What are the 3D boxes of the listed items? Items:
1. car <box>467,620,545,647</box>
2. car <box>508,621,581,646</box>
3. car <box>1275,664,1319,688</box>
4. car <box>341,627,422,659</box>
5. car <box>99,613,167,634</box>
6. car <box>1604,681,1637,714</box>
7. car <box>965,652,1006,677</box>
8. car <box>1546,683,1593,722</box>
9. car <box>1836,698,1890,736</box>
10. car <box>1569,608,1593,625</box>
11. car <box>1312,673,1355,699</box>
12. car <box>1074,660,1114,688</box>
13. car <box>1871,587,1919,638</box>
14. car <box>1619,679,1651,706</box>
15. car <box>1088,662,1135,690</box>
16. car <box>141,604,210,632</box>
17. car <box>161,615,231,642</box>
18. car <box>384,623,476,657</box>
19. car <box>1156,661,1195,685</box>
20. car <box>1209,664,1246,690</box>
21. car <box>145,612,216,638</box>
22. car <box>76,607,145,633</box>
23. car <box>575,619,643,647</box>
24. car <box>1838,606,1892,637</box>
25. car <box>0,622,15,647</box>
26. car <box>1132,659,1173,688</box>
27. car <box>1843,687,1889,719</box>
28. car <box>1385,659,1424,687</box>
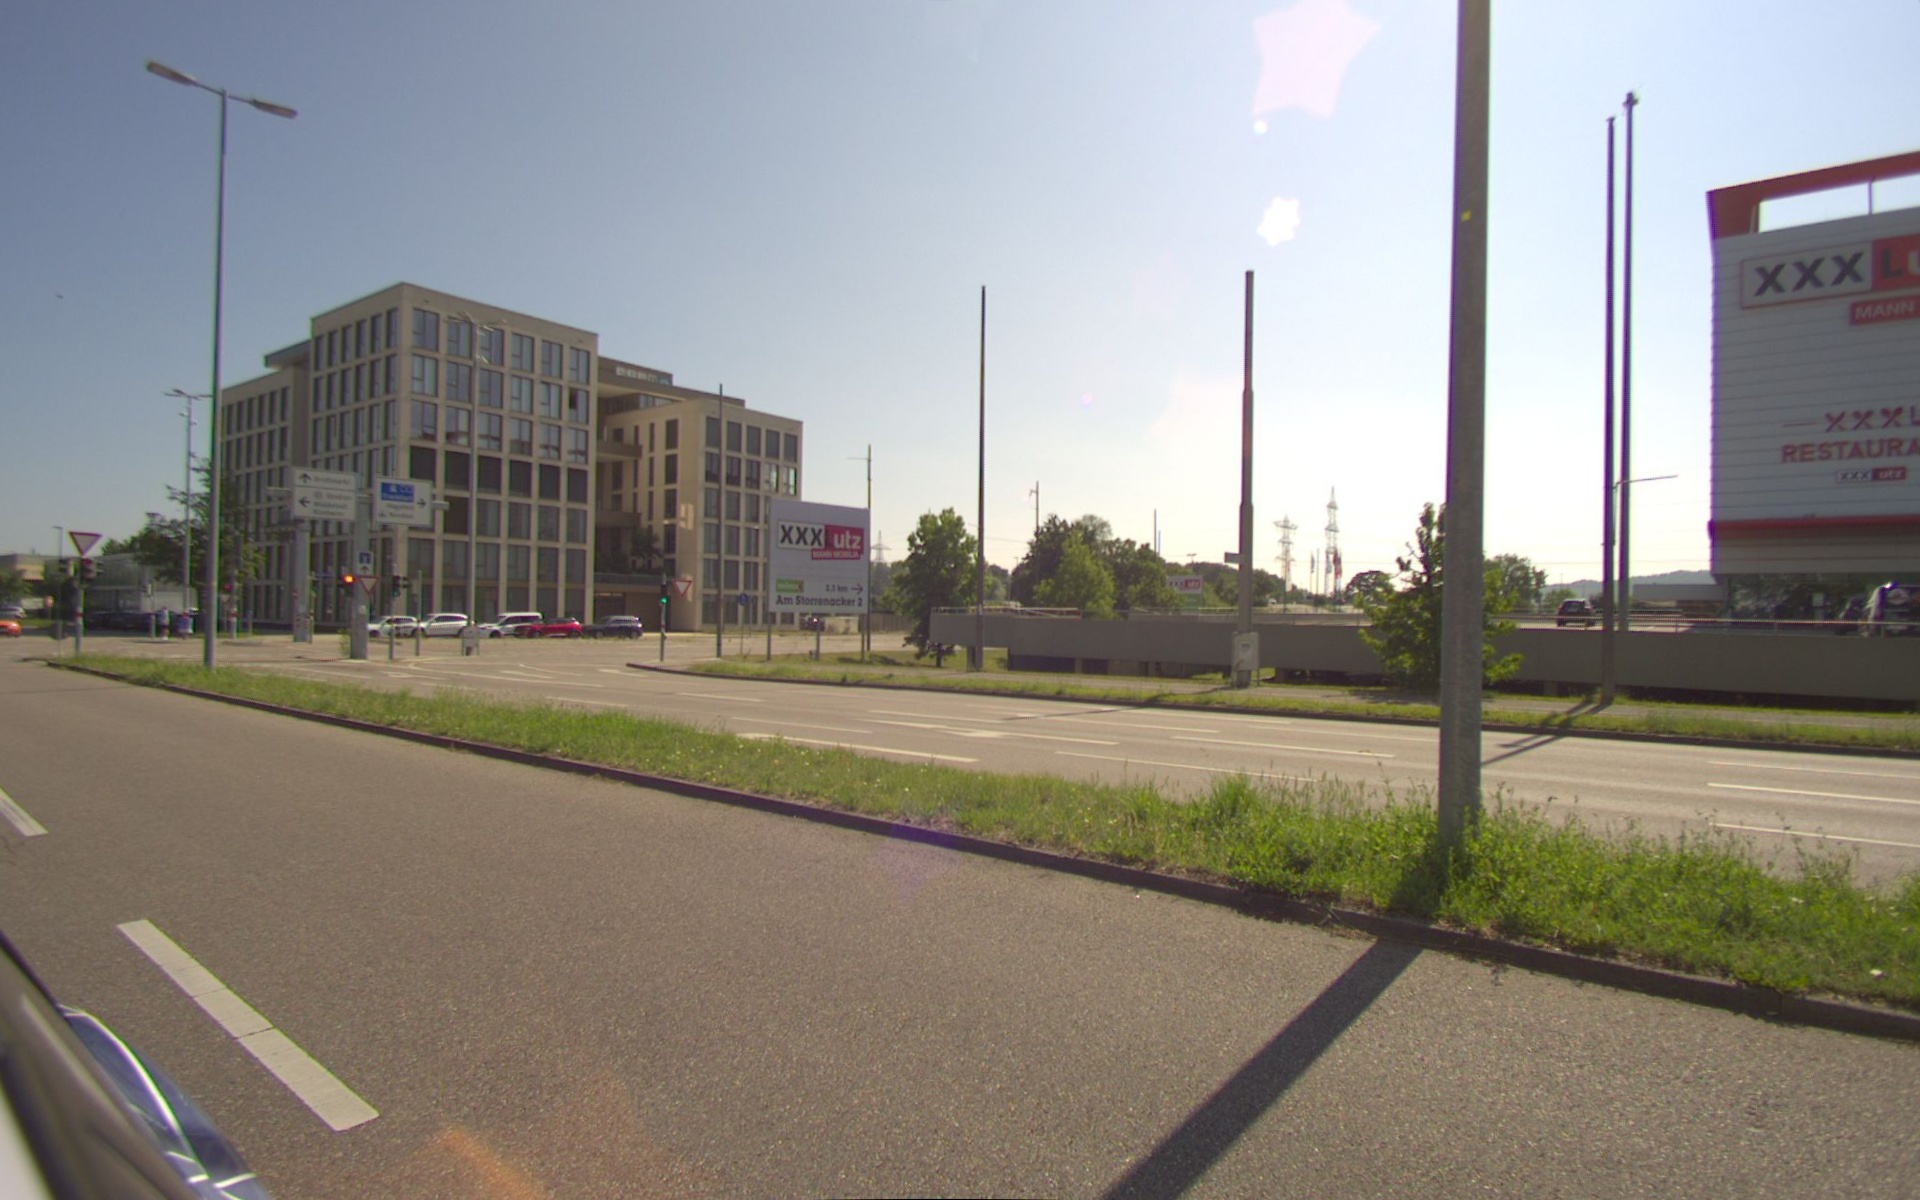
[{"bbox_3d":[-29.290,2.154,65.355,1.900,1.724,4.180,-1,-2,36],"label":"car"},{"bbox_3d":[-26.183,2.124,63.895,1.528,1.539,4.070,-1,-2,36],"label":"car"},{"bbox_3d":[10.304,2.313,30.926,0.856,0.625,1.545,1,-1,35],"label":"car"},{"bbox_3d":[-33.884,2.469,59.342,1.829,1.725,3.724,1,-1,32],"label":"car"},{"bbox_3d":[-66.350,1.872,81.293,3.932,1.627,2.006,2,-2,-31],"label":"car"},{"bbox_3d":[23.797,3.490,36.437,0.908,0.982,1.920,1,-1,35],"label":"car"},{"bbox_3d":[1.125,2.832,44.571,0.888,0.983,1.920,-1,-2,35],"label":"car"},{"bbox_3d":[18.382,3.065,30.490,1.069,0.982,1.920,1,-1,35],"label":"car"},{"bbox_3d":[28.785,3.723,32.292,1.069,0.982,1.920,1,-1,35],"label":"car"},{"bbox_3d":[37.222,0.997,60.628,1.069,0.982,1.920,1,-1,35],"label":"car"},{"bbox_3d":[12.917,2.951,34.969,0.905,0.739,2.062,1,-1,35],"label":"car"},{"bbox_3d":[4.717,2.577,35.498,0.791,0.889,1.488,1,-1,35],"label":"car"},{"bbox_3d":[30.784,0.433,32.646,1.771,1.568,2.741,-1,-2,37],"label":"car"},{"bbox_3d":[28.452,3.876,42.624,1.069,0.982,1.920,1,-1,35],"label":"car"},{"bbox_3d":[6.113,3.046,40.741,1.069,1.016,1.918,-1,-3,37],"label":"car"},{"bbox_3d":[-60.172,1.375,77.696,3.932,2.029,2.006,2,-2,-31],"label":"car"},{"bbox_3d":[-55.014,2.072,72.916,3.935,1.751,2.004,3,-2,-37],"label":"car"},{"bbox_3d":[-30.553,2.286,58.466,2.021,1.852,4.262,1,-1,34],"label":"car"},{"bbox_3d":[9.745,3.275,45.738,1.069,0.983,1.919,-1,-3,37],"label":"car"},{"bbox_3d":[11.703,3.347,44.237,0.886,0.982,1.918,1,-1,38],"label":"car"},{"bbox_3d":[-57.578,1.849,74.833,3.932,1.841,2.006,2,-2,-31],"label":"car"},{"bbox_3d":[-69.100,1.644,82.381,3.932,2.029,2.006,2,-2,-31],"label":"car"},{"bbox_3d":[-24.583,2.297,70.980,1.833,1.903,4.188,1,-1,38],"label":"car"},{"bbox_3d":[40.555,0.956,45.396,1.513,1.340,2.983,1,-1,37],"label":"car"},{"bbox_3d":[-54.171,1.917,56.736,1.713,1.374,3.869,2,-2,-43],"label":"car"},{"bbox_3d":[7.514,2.841,39.395,0.865,0.982,1.826,1,-1,35],"label":"car"},{"bbox_3d":[34.140,3.867,38.168,1.069,0.982,1.920,1,-1,35],"label":"car"},{"bbox_3d":[17.963,2.945,40.881,1.069,0.982,1.920,1,-1,35],"label":"car"}]
